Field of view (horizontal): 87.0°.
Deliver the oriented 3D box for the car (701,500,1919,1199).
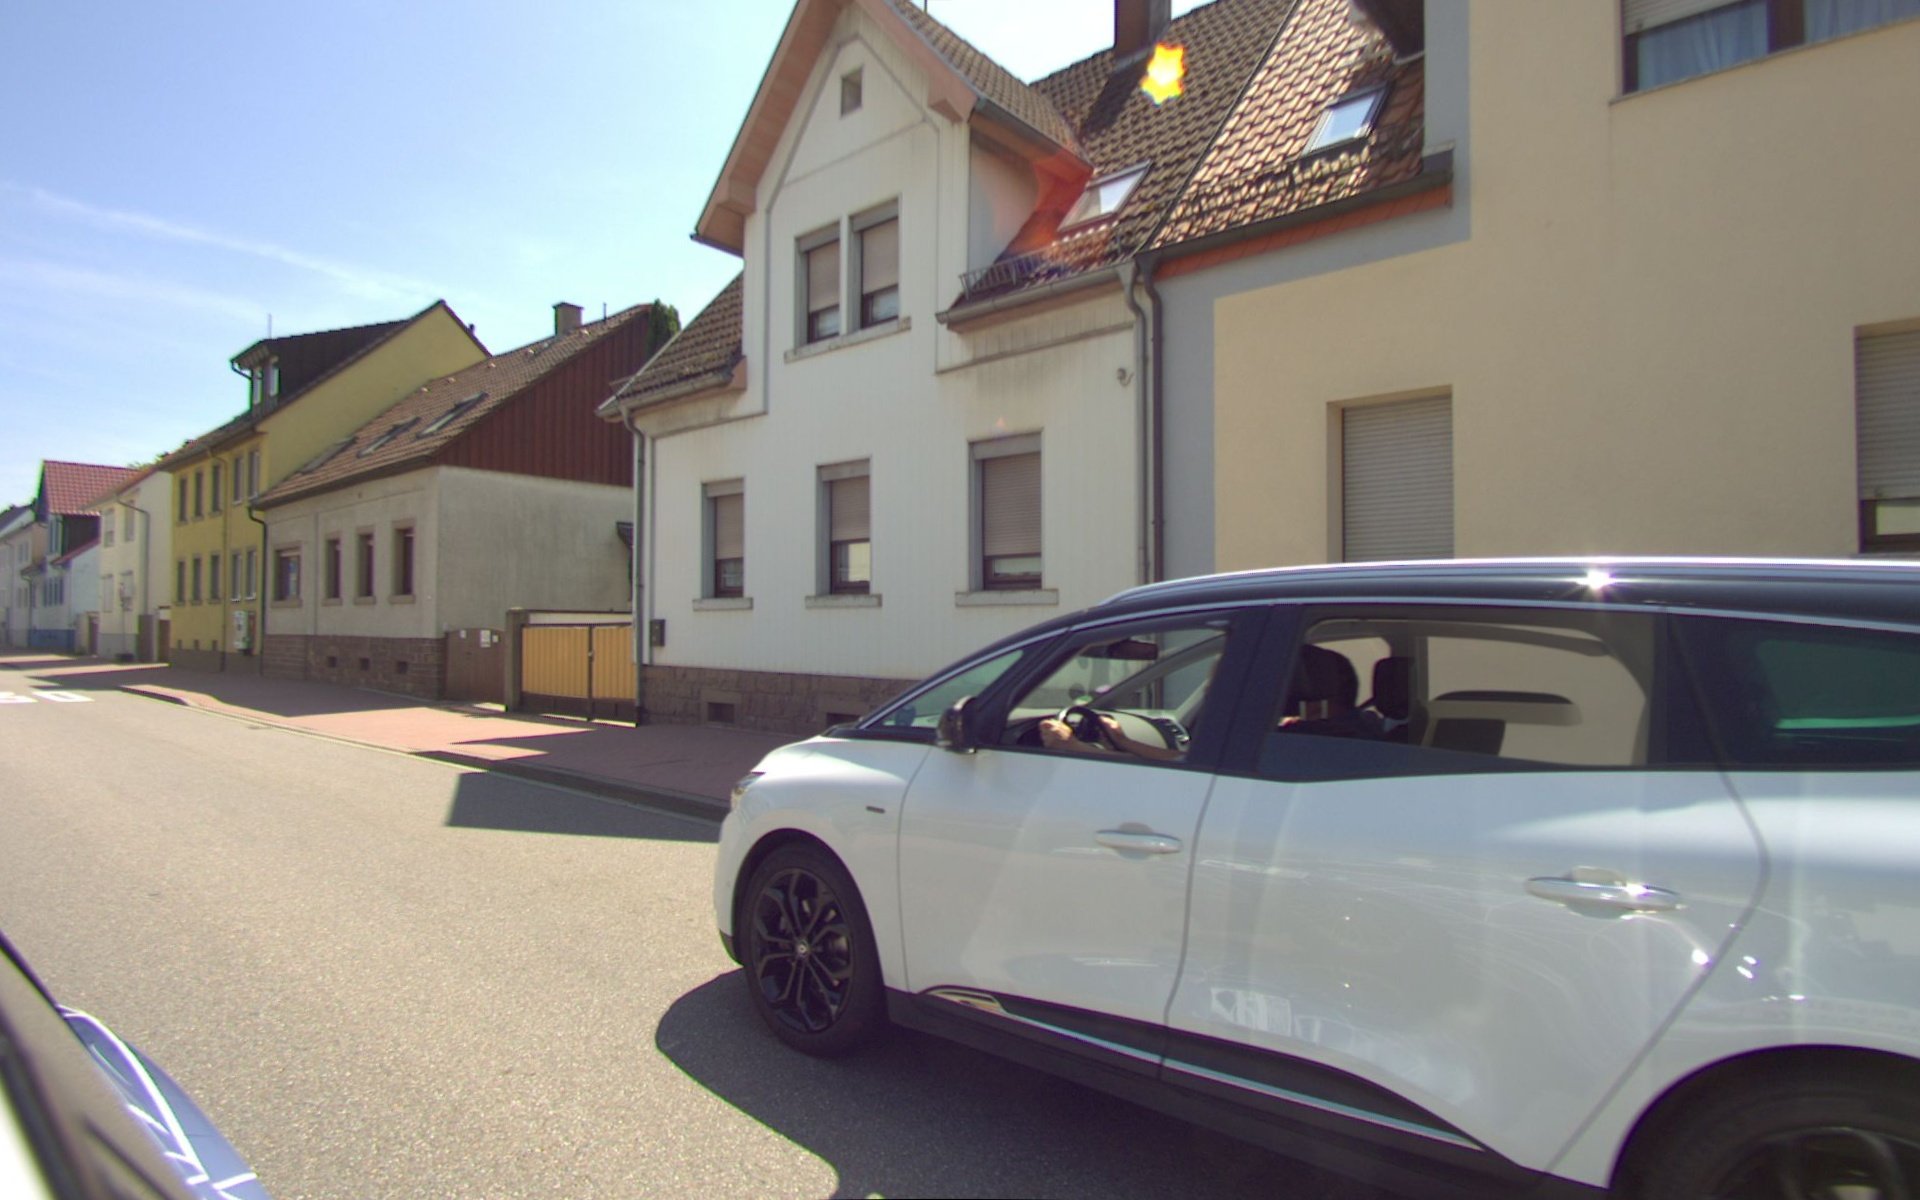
[{"bbox_3d":[1.348,0.707,2.969,4.428,1.615,1.854,-1,-4,41],"label":"car"}]
